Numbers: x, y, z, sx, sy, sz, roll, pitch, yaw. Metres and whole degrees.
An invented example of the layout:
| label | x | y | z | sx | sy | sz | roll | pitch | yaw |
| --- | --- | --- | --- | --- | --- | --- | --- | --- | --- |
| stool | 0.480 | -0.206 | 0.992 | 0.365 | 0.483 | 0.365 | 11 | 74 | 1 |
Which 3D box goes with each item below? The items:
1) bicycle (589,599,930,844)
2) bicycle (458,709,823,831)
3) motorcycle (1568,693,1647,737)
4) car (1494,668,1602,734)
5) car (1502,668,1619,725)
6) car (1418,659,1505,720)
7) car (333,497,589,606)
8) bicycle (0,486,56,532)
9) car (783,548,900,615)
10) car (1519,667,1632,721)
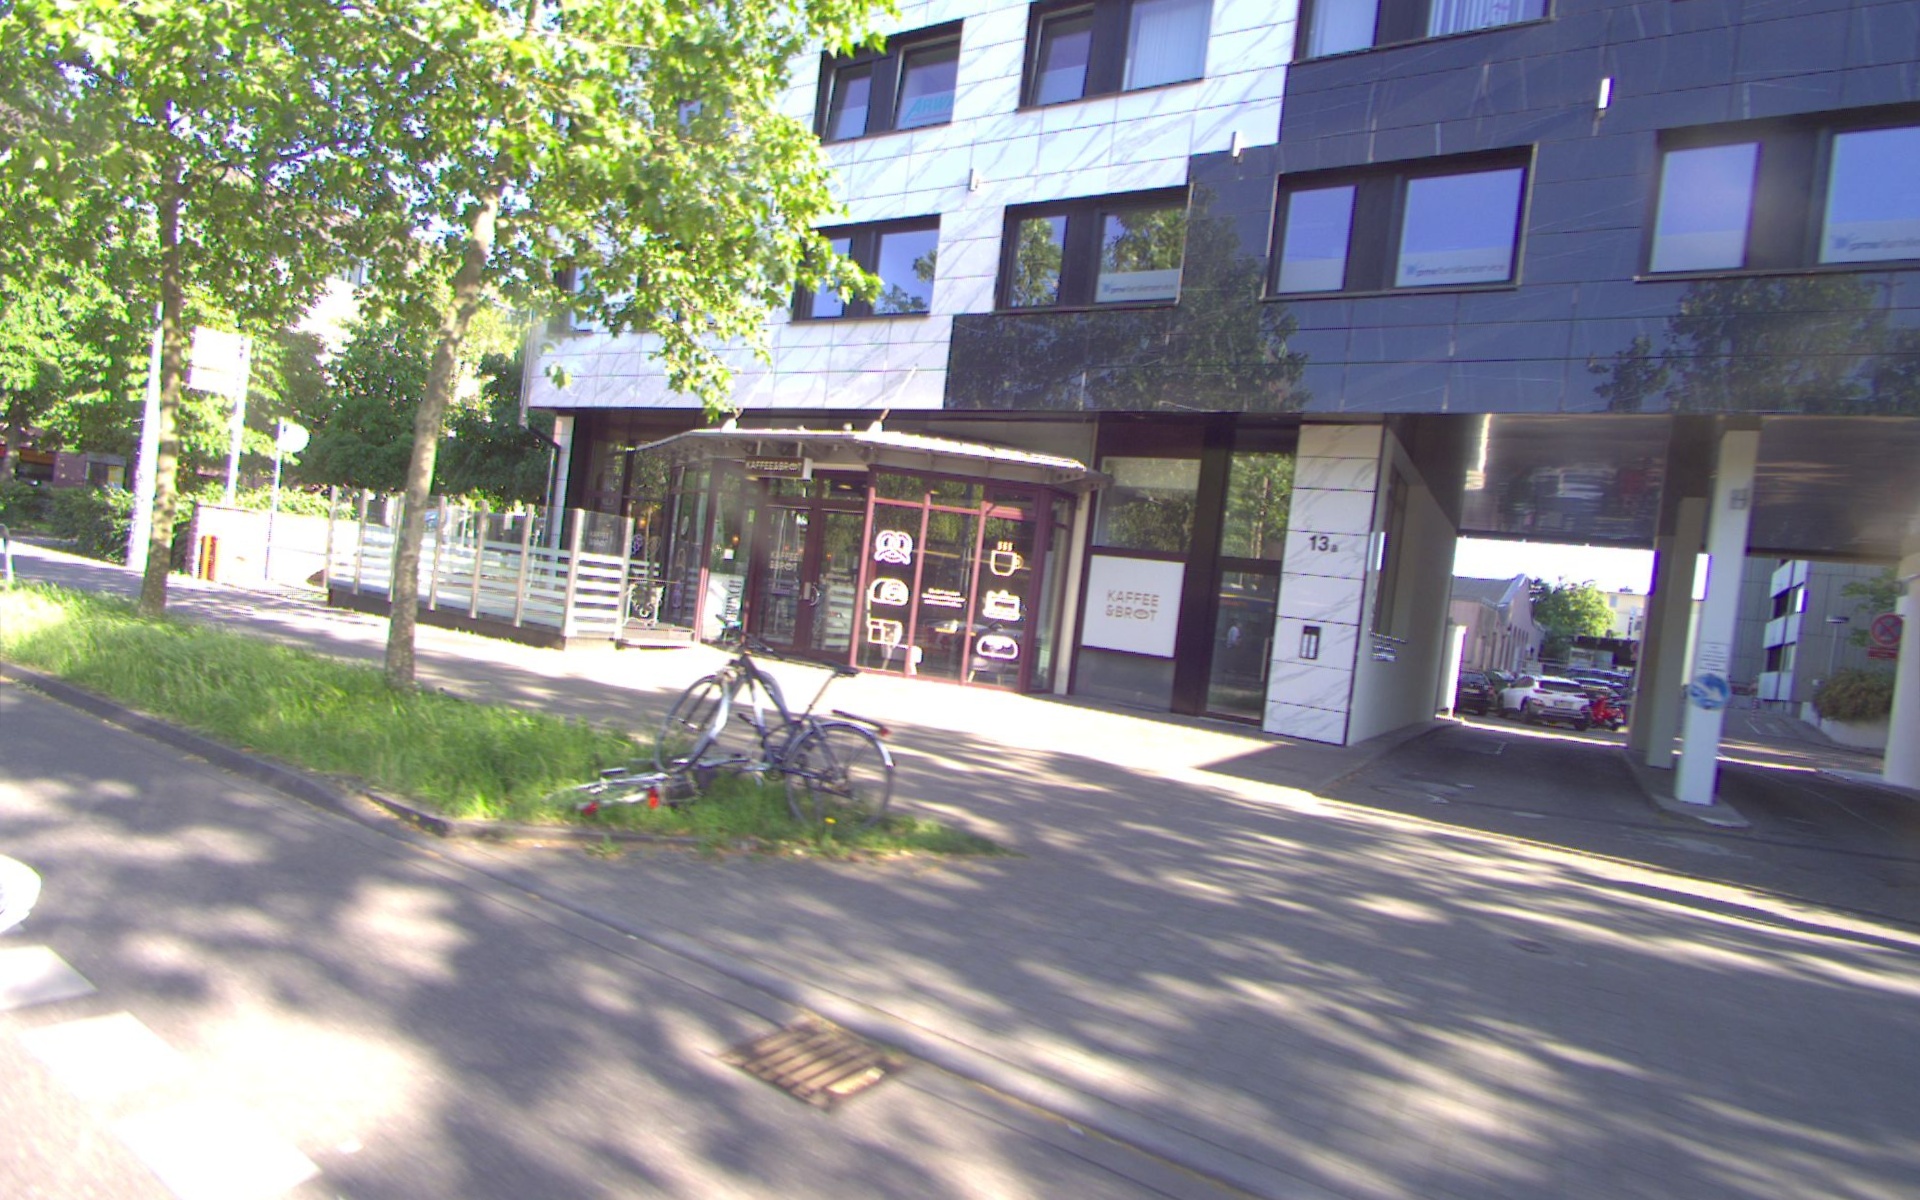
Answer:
| label | x | y | z | sx | sy | sz | roll | pitch | yaw |
| --- | --- | --- | --- | --- | --- | --- | --- | --- | --- |
| bicycle | -1.225 | 0.688 | 6.204 | 1.812 | 1.147 | 0.790 | 7 | 1 | 19 |
| bicycle | -1.890 | 0.971 | 6.131 | 1.366 | 0.357 | 1.610 | 7 | 0 | 32 |
| motorcycle | 21.297 | 3.762 | 33.166 | 1.074 | 1.079 | 2.539 | 7 | 0 | 6 |
| car | 18.991 | 3.201 | 32.669 | 1.906 | 1.638 | 4.001 | 7 | 0 | 16 |
| car | 22.541 | 3.598 | 37.862 | 3.554 | 1.562 | 1.551 | 7 | 1 | 32 |
| car | 17.175 | 3.019 | 34.634 | 1.788 | 1.638 | 4.001 | 7 | 0 | 16 |
| car | -11.215 | -1.014 | 22.995 | 1.881 | 2.011 | 4.897 | 7 | 2 | 32 |
| bicycle | -30.991 | -3.008 | 32.895 | 0.565 | 1.331 | 1.996 | 7 | 2 | 34 |
| car | -3.614 | -0.535 | 31.285 | 1.568 | 1.692 | 3.613 | 7 | 0 | 32 |
| car | 24.041 | 3.637 | 39.369 | 3.554 | 1.562 | 1.551 | 7 | 1 | 32 |
